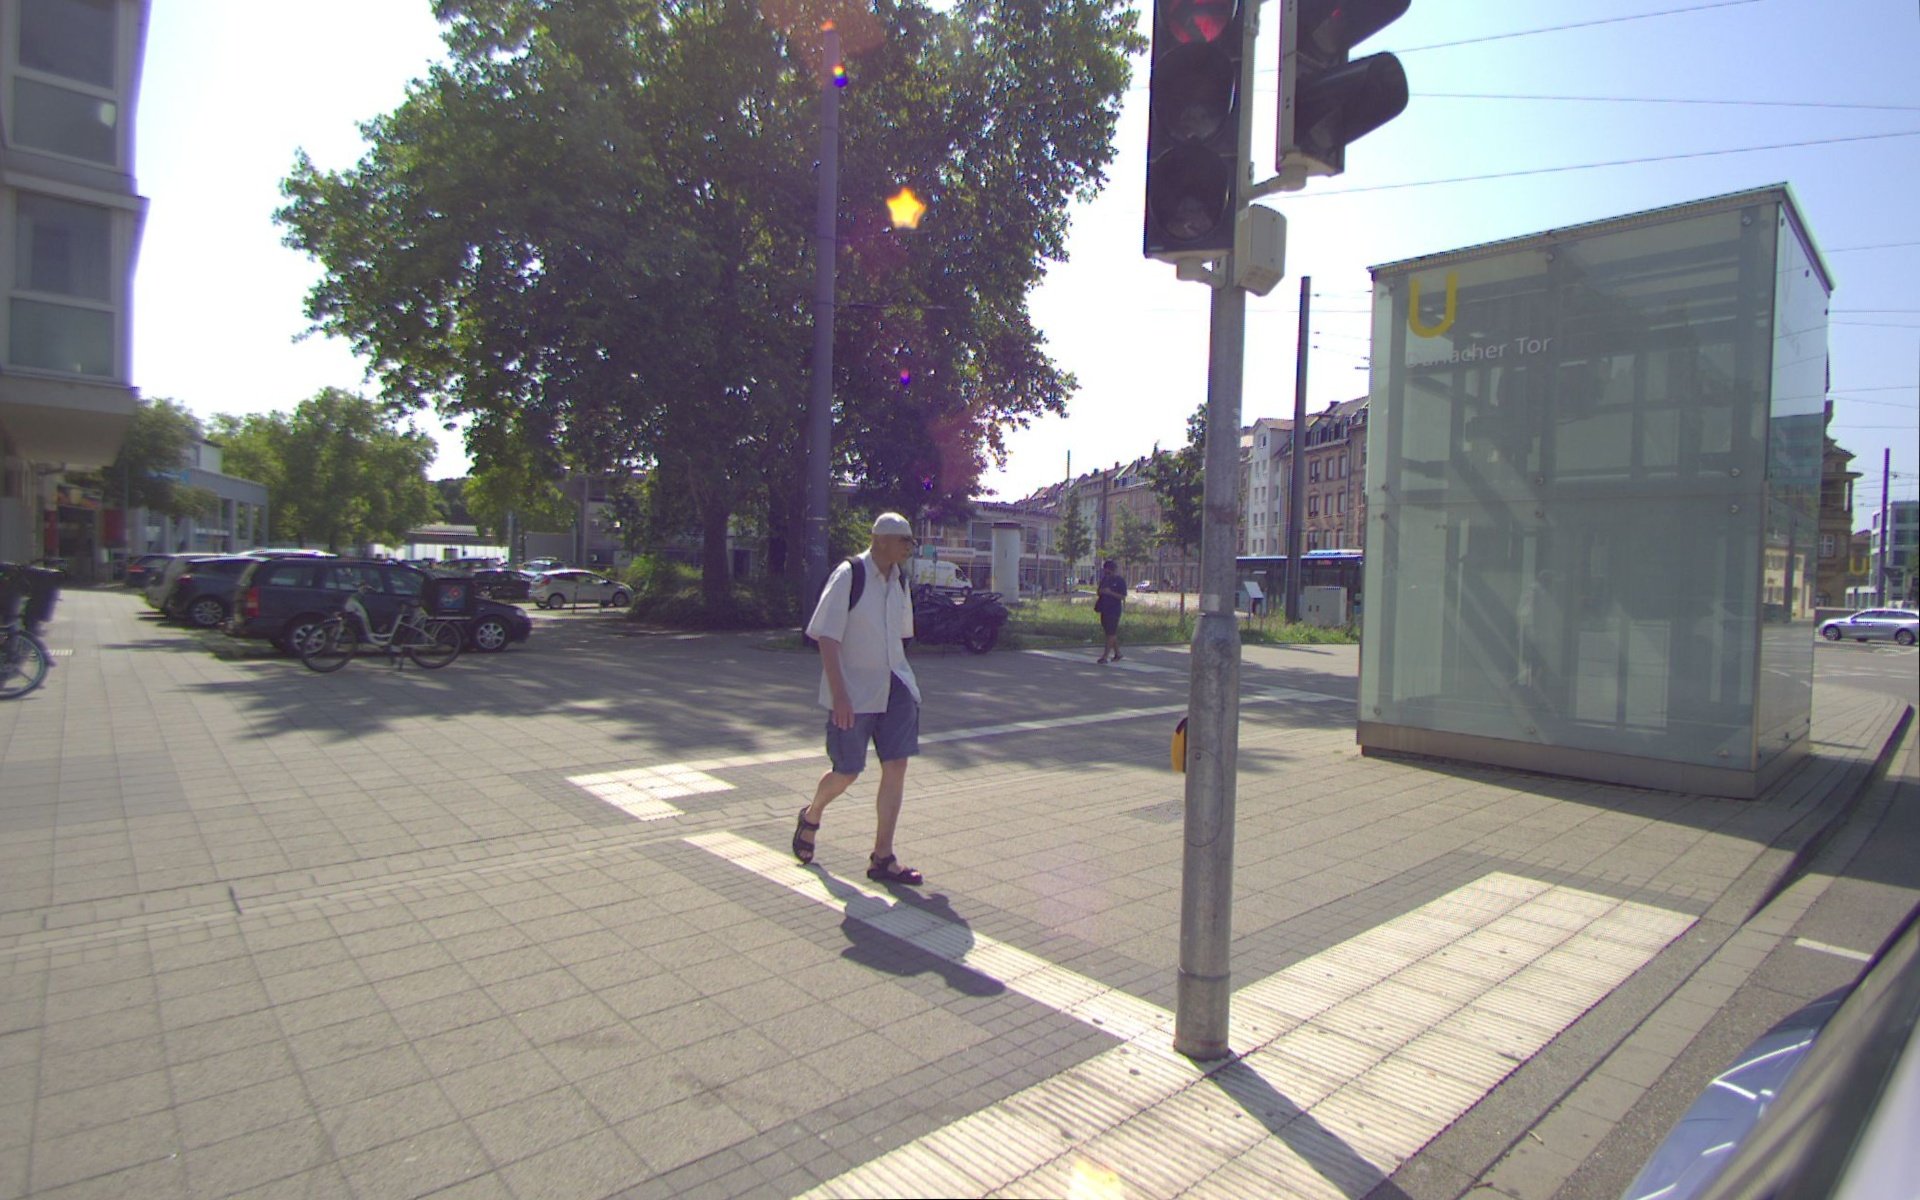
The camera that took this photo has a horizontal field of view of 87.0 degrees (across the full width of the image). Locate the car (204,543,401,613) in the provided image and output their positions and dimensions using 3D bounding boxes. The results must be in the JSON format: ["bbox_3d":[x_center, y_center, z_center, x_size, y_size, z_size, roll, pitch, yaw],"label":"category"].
[{"bbox_3d":[-17.002,-0.561,26.277,4.007,1.686,1.786,0,2,-45],"label":"car"}]

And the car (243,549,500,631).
[{"bbox_3d":[-11.854,-0.220,20.548,4.177,1.488,1.901,0,2,-45],"label":"car"}]

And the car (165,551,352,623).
[{"bbox_3d":[-14.767,-0.284,21.370,3.048,1.403,1.499,0,2,-45],"label":"car"}]

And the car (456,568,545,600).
[{"bbox_3d":[-20.175,-0.690,44.460,3.234,1.298,1.613,0,2,-41],"label":"car"}]

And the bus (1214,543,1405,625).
[{"bbox_3d":[14.975,-0.799,45.003,2.678,3.102,12.103,2,2,-8],"label":"bus"}]

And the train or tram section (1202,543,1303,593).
[{"bbox_3d":[23.067,-2.562,80.822,2.542,3.604,12.242,1,2,-10],"label":"train or tram section"}]

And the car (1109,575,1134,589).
[{"bbox_3d":[19.495,-2.178,122.020,1.766,1.609,3.809,2,2,27],"label":"car"}]

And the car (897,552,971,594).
[{"bbox_3d":[-1.767,-1.868,71.180,5.126,2.617,1.845,3,0,-42],"label":"car"}]

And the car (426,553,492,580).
[{"bbox_3d":[-30.389,-2.014,61.414,3.471,1.507,1.617,1,2,-30],"label":"car"}]

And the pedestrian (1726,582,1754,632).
[{"bbox_3d":[27.245,0.242,35.345,0.714,1.709,0.794,-1,-3,36],"label":"pedestrian"}]

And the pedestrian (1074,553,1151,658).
[{"bbox_3d":[2.477,0.073,16.404,0.934,1.628,0.791,-1,3,-45],"label":"pedestrian"}]

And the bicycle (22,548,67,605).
[{"bbox_3d":[-21.471,-0.560,23.729,0.701,1.282,1.723,0,2,-44],"label":"bicycle"}]

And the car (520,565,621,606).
[{"bbox_3d":[-14.916,-0.564,38.808,3.234,1.479,1.613,0,2,-41],"label":"car"}]

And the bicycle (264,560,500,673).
[{"bbox_3d":[-7.011,0.168,12.386,2.393,1.254,0.793,0,2,-42],"label":"bicycle"}]

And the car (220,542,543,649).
[{"bbox_3d":[-9.150,-0.061,16.219,4.176,1.489,1.901,0,0,-44],"label":"car"}]

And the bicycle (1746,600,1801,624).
[{"bbox_3d":[41.255,0.594,51.379,0.432,1.125,2.130,1,2,-31],"label":"bicycle"}]

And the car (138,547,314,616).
[{"bbox_3d":[-16.505,-0.421,22.819,3.048,1.446,1.400,0,2,-45],"label":"car"}]

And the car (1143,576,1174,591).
[{"bbox_3d":[23.826,-1.993,121.403,3.778,1.609,1.781,1,2,-41],"label":"car"}]

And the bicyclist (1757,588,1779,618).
[{"bbox_3d":[41.136,0.142,51.540,0.645,1.499,0.645,1,1,-33],"label":"bicyclist"}]

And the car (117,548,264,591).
[{"bbox_3d":[-27.669,-1.084,36.457,4.007,1.415,1.786,0,2,-45],"label":"car"}]

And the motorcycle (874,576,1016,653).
[{"bbox_3d":[-0.236,0.221,16.217,2.070,1.151,0.914,1,2,-29],"label":"motorcycle"}]

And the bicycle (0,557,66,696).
[{"bbox_3d":[-9.071,0.211,9.683,1.721,1.221,0.581,3,2,42],"label":"bicycle"}]

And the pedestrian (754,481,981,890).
[{"bbox_3d":[-0.471,0.376,5.100,0.800,1.830,0.820,0,0,-41],"label":"pedestrian"}]

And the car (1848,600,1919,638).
[{"bbox_3d":[37.397,0.756,39.780,1.486,1.355,3.516,0,2,-14],"label":"car"}]

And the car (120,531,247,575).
[{"bbox_3d":[-32.135,-1.924,41.955,4.007,1.686,1.786,0,2,-45],"label":"car"}]
